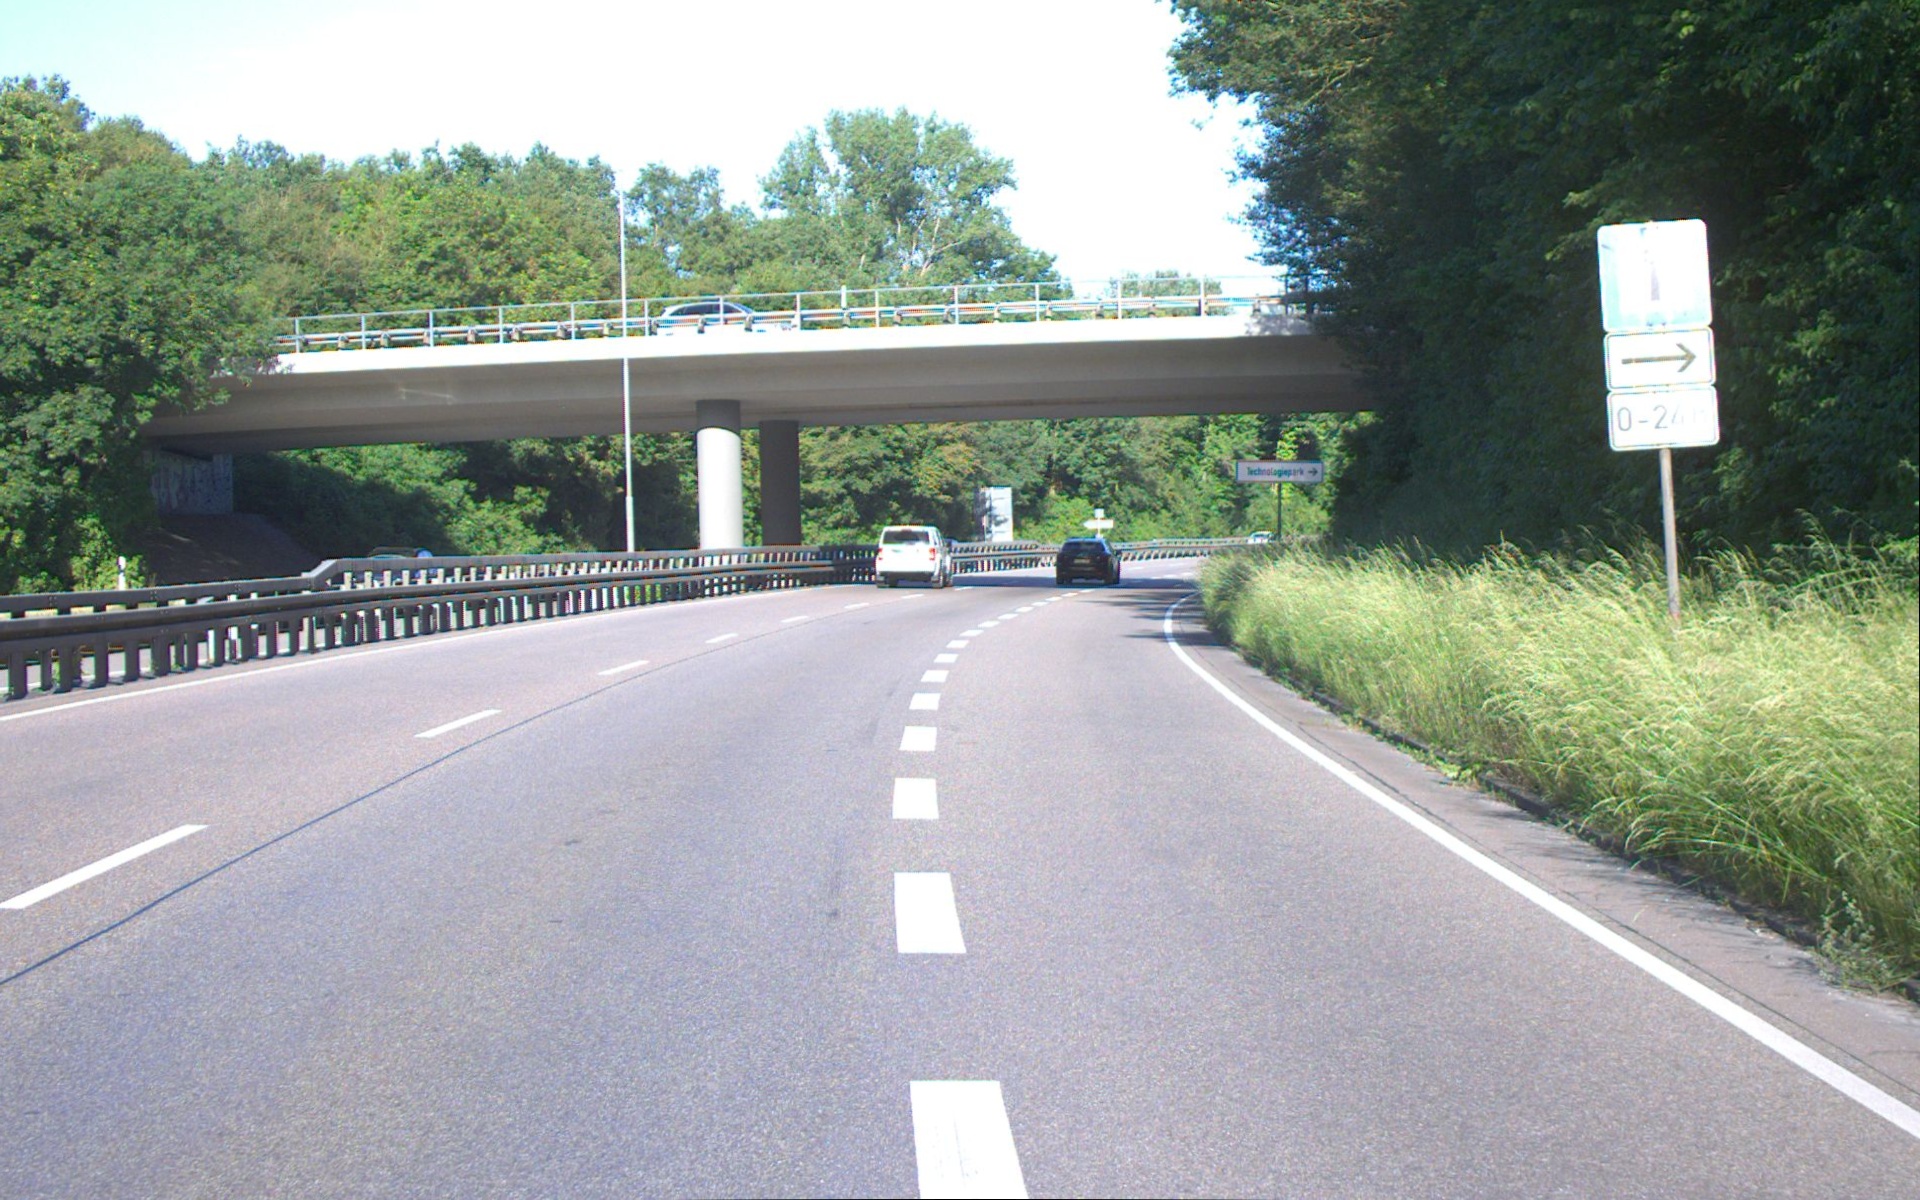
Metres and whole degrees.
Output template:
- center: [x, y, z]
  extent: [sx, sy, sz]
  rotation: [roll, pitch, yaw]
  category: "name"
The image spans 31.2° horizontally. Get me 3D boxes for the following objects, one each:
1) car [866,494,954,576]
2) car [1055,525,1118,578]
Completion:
- center: [-1.410, -1.861, 98.261]
  extent: [1.994, 2.269, 3.999]
  rotation: [-1, 1, 7]
  category: "car"
- center: [4.061, -1.556, 110.061]
  extent: [1.739, 1.656, 3.945]
  rotation: [-1, 1, 6]
  category: "car"
